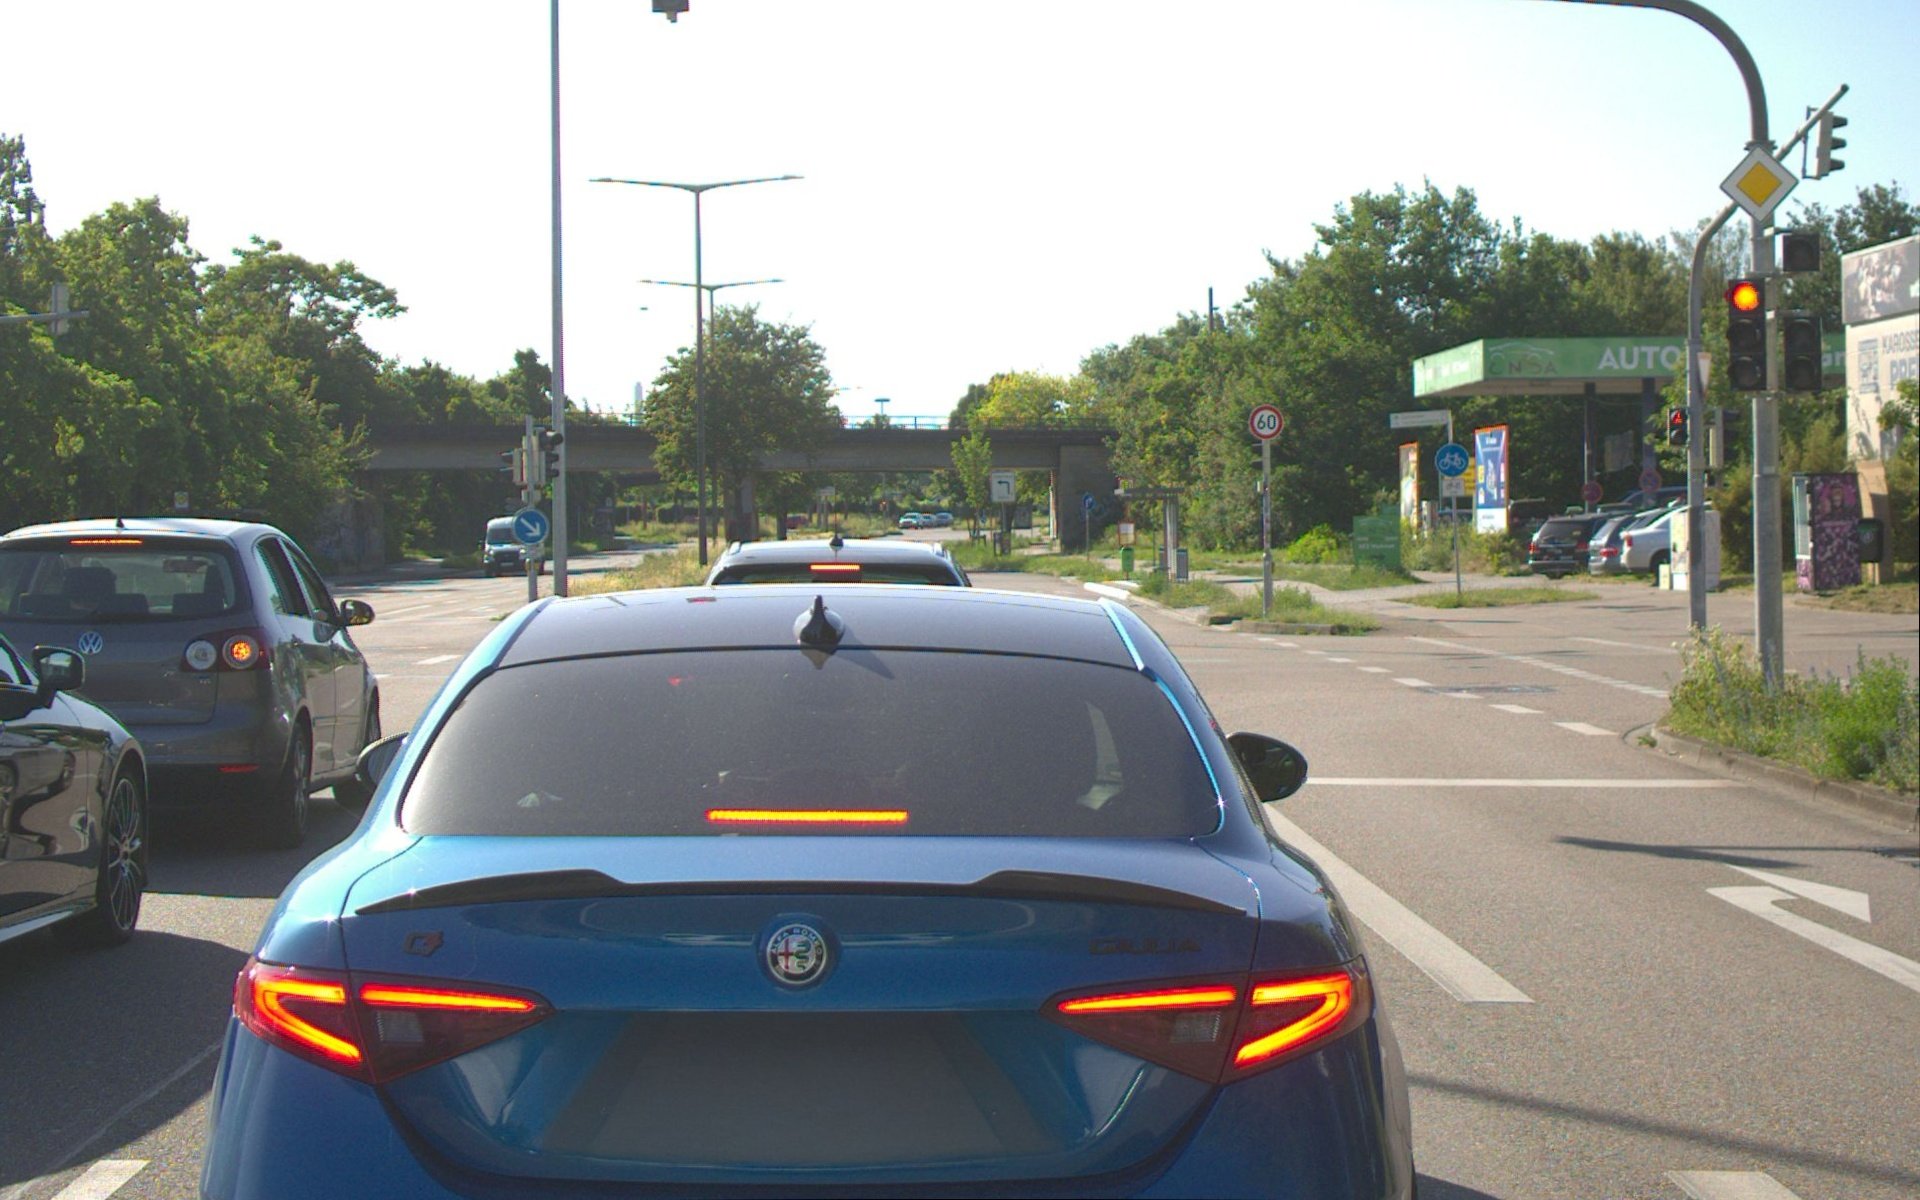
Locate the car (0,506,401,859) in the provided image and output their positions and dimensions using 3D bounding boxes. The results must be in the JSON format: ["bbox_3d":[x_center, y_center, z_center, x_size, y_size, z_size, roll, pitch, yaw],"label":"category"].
[{"bbox_3d":[-3.975,0.331,17.523,1.648,1.593,3.932,0,1,-1],"label":"car"}]

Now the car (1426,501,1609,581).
[{"bbox_3d":[12.014,-1.279,74.143,3.483,1.700,1.696,-1,1,-16],"label":"car"}]

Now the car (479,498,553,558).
[{"bbox_3d":[-18.238,-2.964,141.450,2.431,2.418,5.831,0,1,-2],"label":"car"}]

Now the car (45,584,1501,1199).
[{"bbox_3d":[-0.263,0.696,6.385,1.866,1.380,3.932,0,1,-1],"label":"car"}]

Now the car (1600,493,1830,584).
[{"bbox_3d":[14.506,-1.189,66.097,3.986,1.700,1.696,-1,1,-16],"label":"car"}]

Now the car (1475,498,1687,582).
[{"bbox_3d":[12.815,-1.242,70.953,3.986,1.700,1.696,-1,1,-19],"label":"car"}]

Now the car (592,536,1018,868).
[{"bbox_3d":[-0.702,0.412,17.068,1.866,1.445,3.932,0,1,-1],"label":"car"}]

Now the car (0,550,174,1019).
[{"bbox_3d":[-3.808,0.571,10.629,1.768,1.409,4.461,0,1,-1],"label":"car"}]
